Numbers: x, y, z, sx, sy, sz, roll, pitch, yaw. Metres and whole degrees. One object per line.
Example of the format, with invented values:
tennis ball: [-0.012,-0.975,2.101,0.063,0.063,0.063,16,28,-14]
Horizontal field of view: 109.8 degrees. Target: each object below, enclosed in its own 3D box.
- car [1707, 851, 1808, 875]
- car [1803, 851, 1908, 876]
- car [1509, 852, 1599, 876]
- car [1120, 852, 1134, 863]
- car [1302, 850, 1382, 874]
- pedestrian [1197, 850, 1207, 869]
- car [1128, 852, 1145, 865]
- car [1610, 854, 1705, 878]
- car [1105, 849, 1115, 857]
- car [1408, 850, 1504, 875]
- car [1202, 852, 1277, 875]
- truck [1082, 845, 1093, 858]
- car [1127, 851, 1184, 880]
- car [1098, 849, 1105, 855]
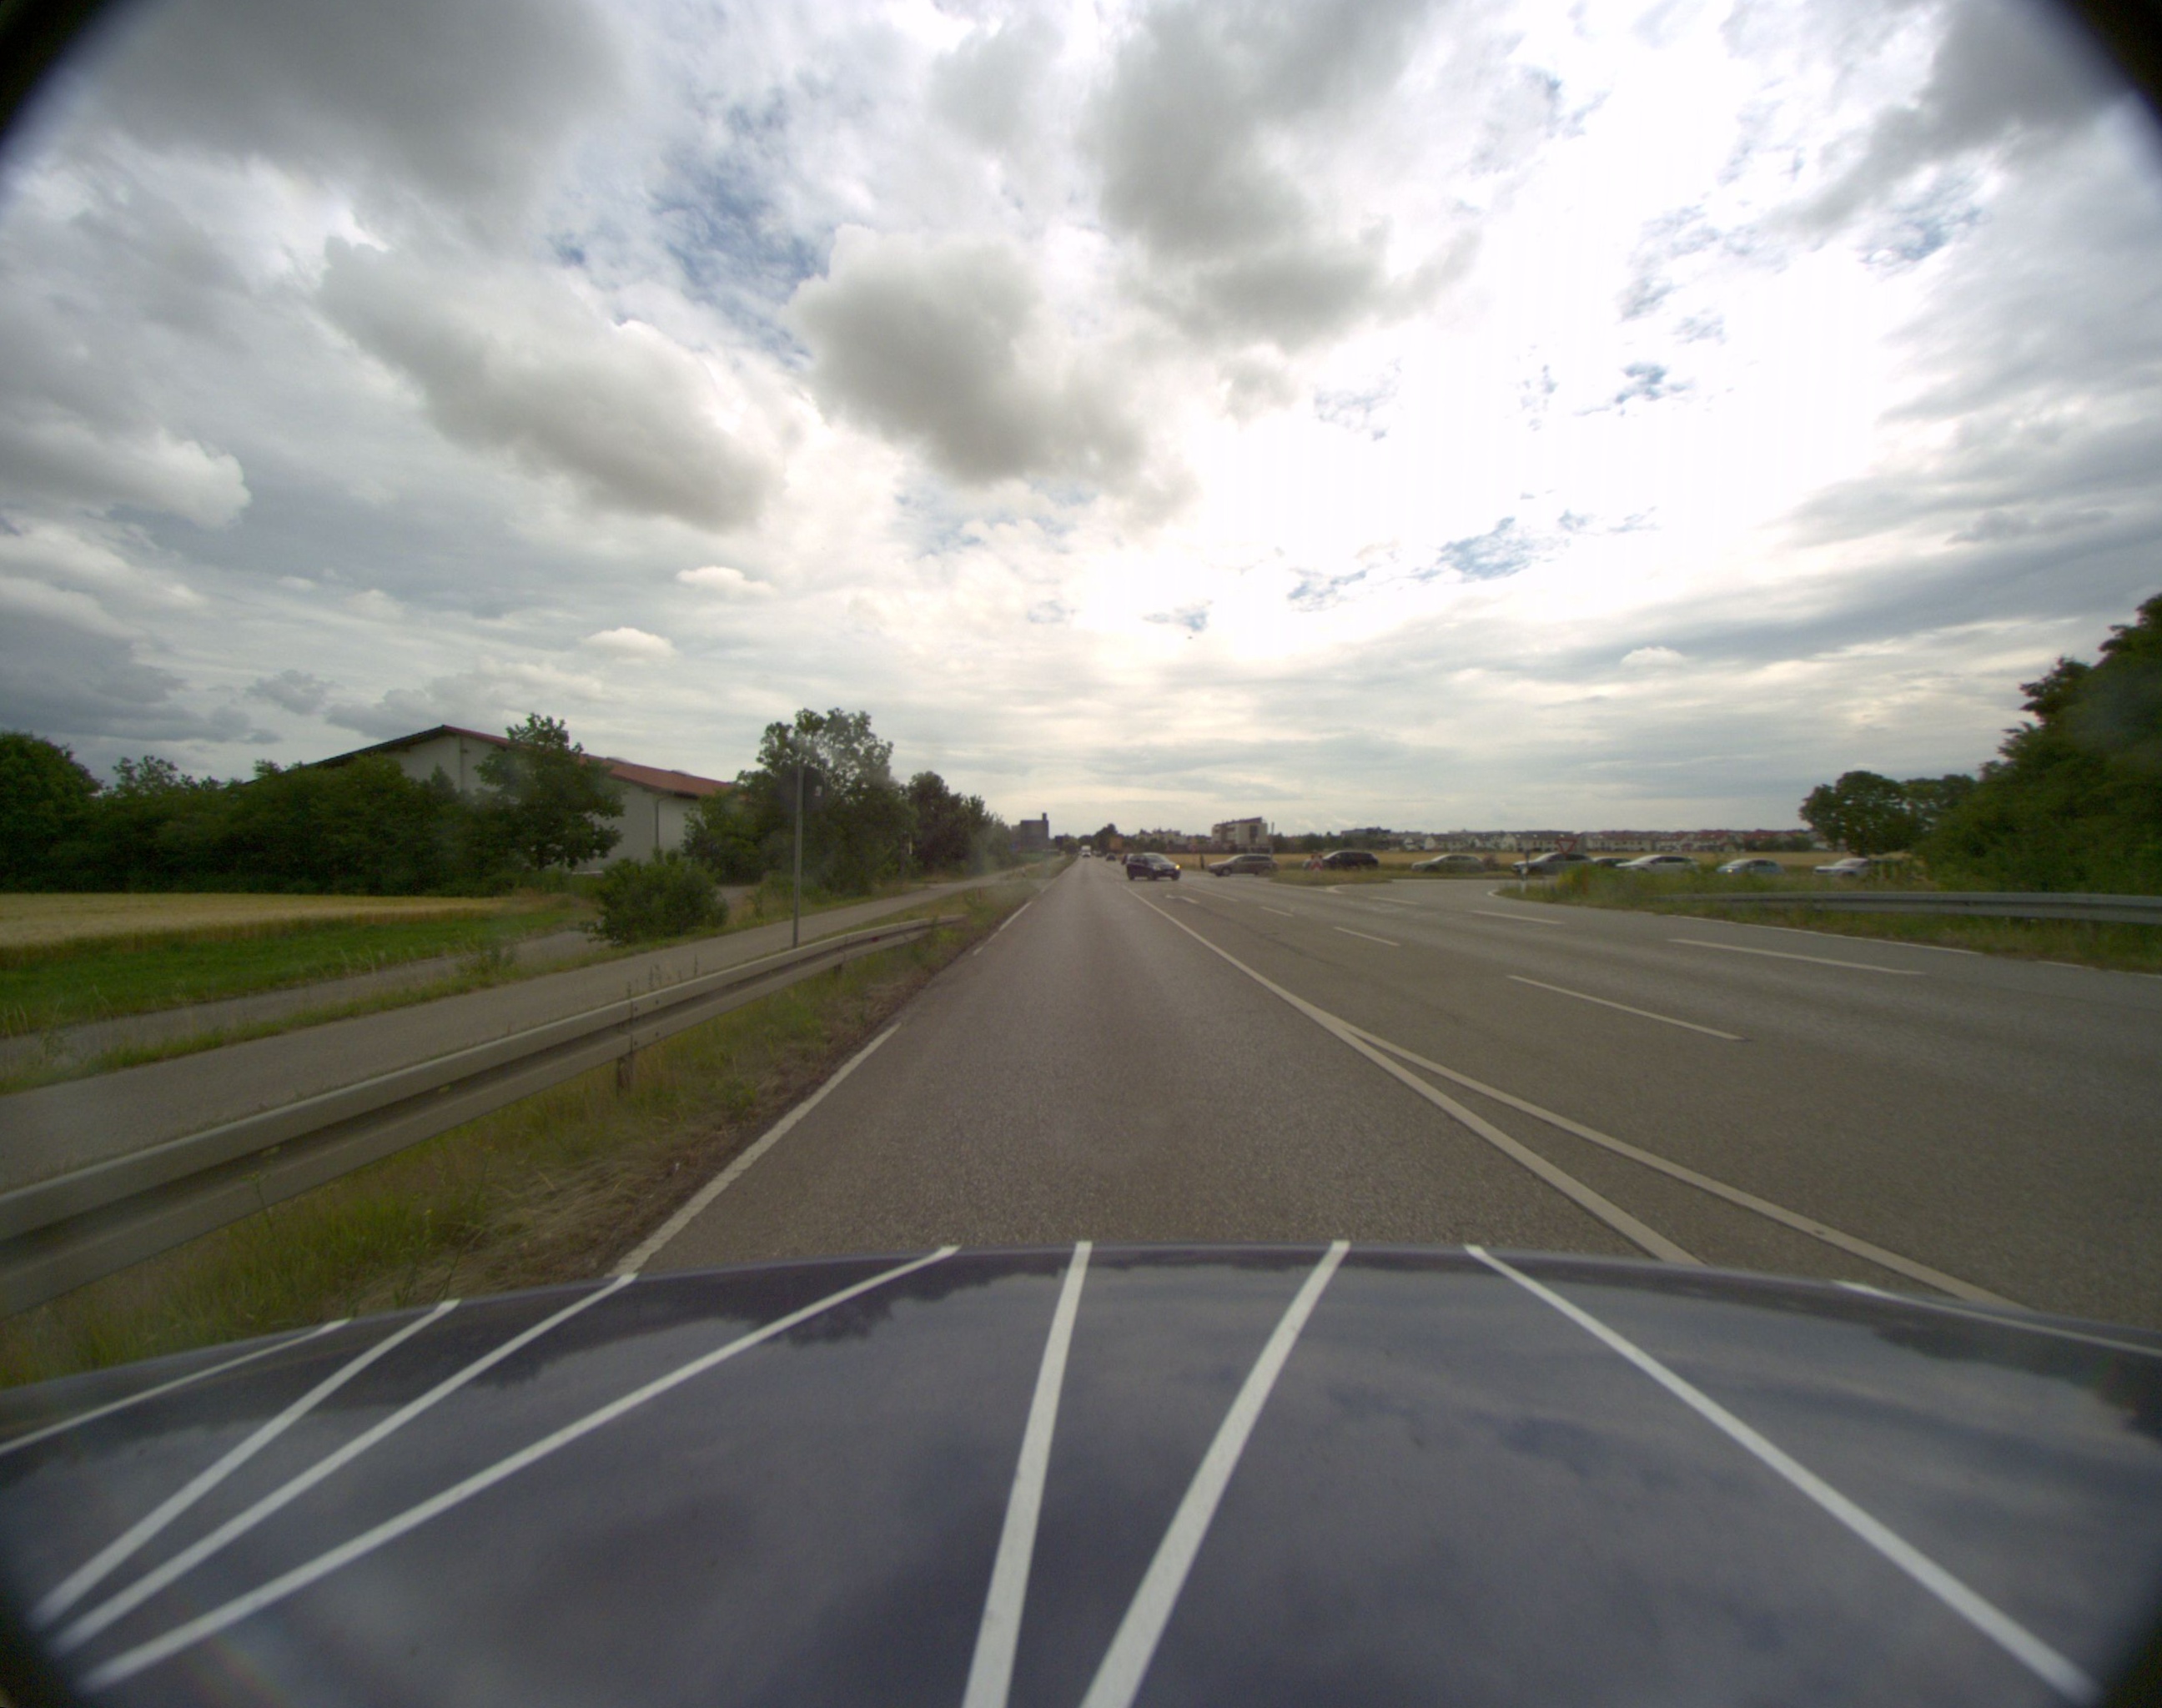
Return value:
car: [42.744,0.569,48.105,4.500,1.474,1.912,0,1,6]
car: [48.564,0.596,47.710,4.501,1.474,1.911,0,1,3]
car: [30.604,0.658,49.282,4.633,1.508,1.912,0,1,6]
car: [6.477,0.434,106.556,1.665,1.475,3.168,-2,1,0]
car: [17.237,0.505,50.335,4.749,1.523,1.912,0,1,6]
pedestrian: [10.556,0.484,66.226,0.595,1.596,0.866,2,1,-2]
car: [6.514,0.496,89.240,1.746,1.521,4.198,-1,0,1]
car: [36.677,0.757,48.450,4.500,1.474,1.912,0,1,6]
car: [5.536,-0.215,144.679,1.683,1.512,4.395,-2,1,0]
car: [24.485,0.547,49.797,5.295,1.512,1.912,0,1,6]
car: [10.367,0.585,49.865,4.464,1.416,1.909,-1,1,-8]
truck: [1.814,-0.752,212.105,2.813,3.588,11.218,0,0,1]
car: [4.403,0.672,45.673,1.709,1.602,4.475,-3,1,-19]
car: [5.814,-0.601,214.177,1.740,1.450,4.131,-1,1,-1]
